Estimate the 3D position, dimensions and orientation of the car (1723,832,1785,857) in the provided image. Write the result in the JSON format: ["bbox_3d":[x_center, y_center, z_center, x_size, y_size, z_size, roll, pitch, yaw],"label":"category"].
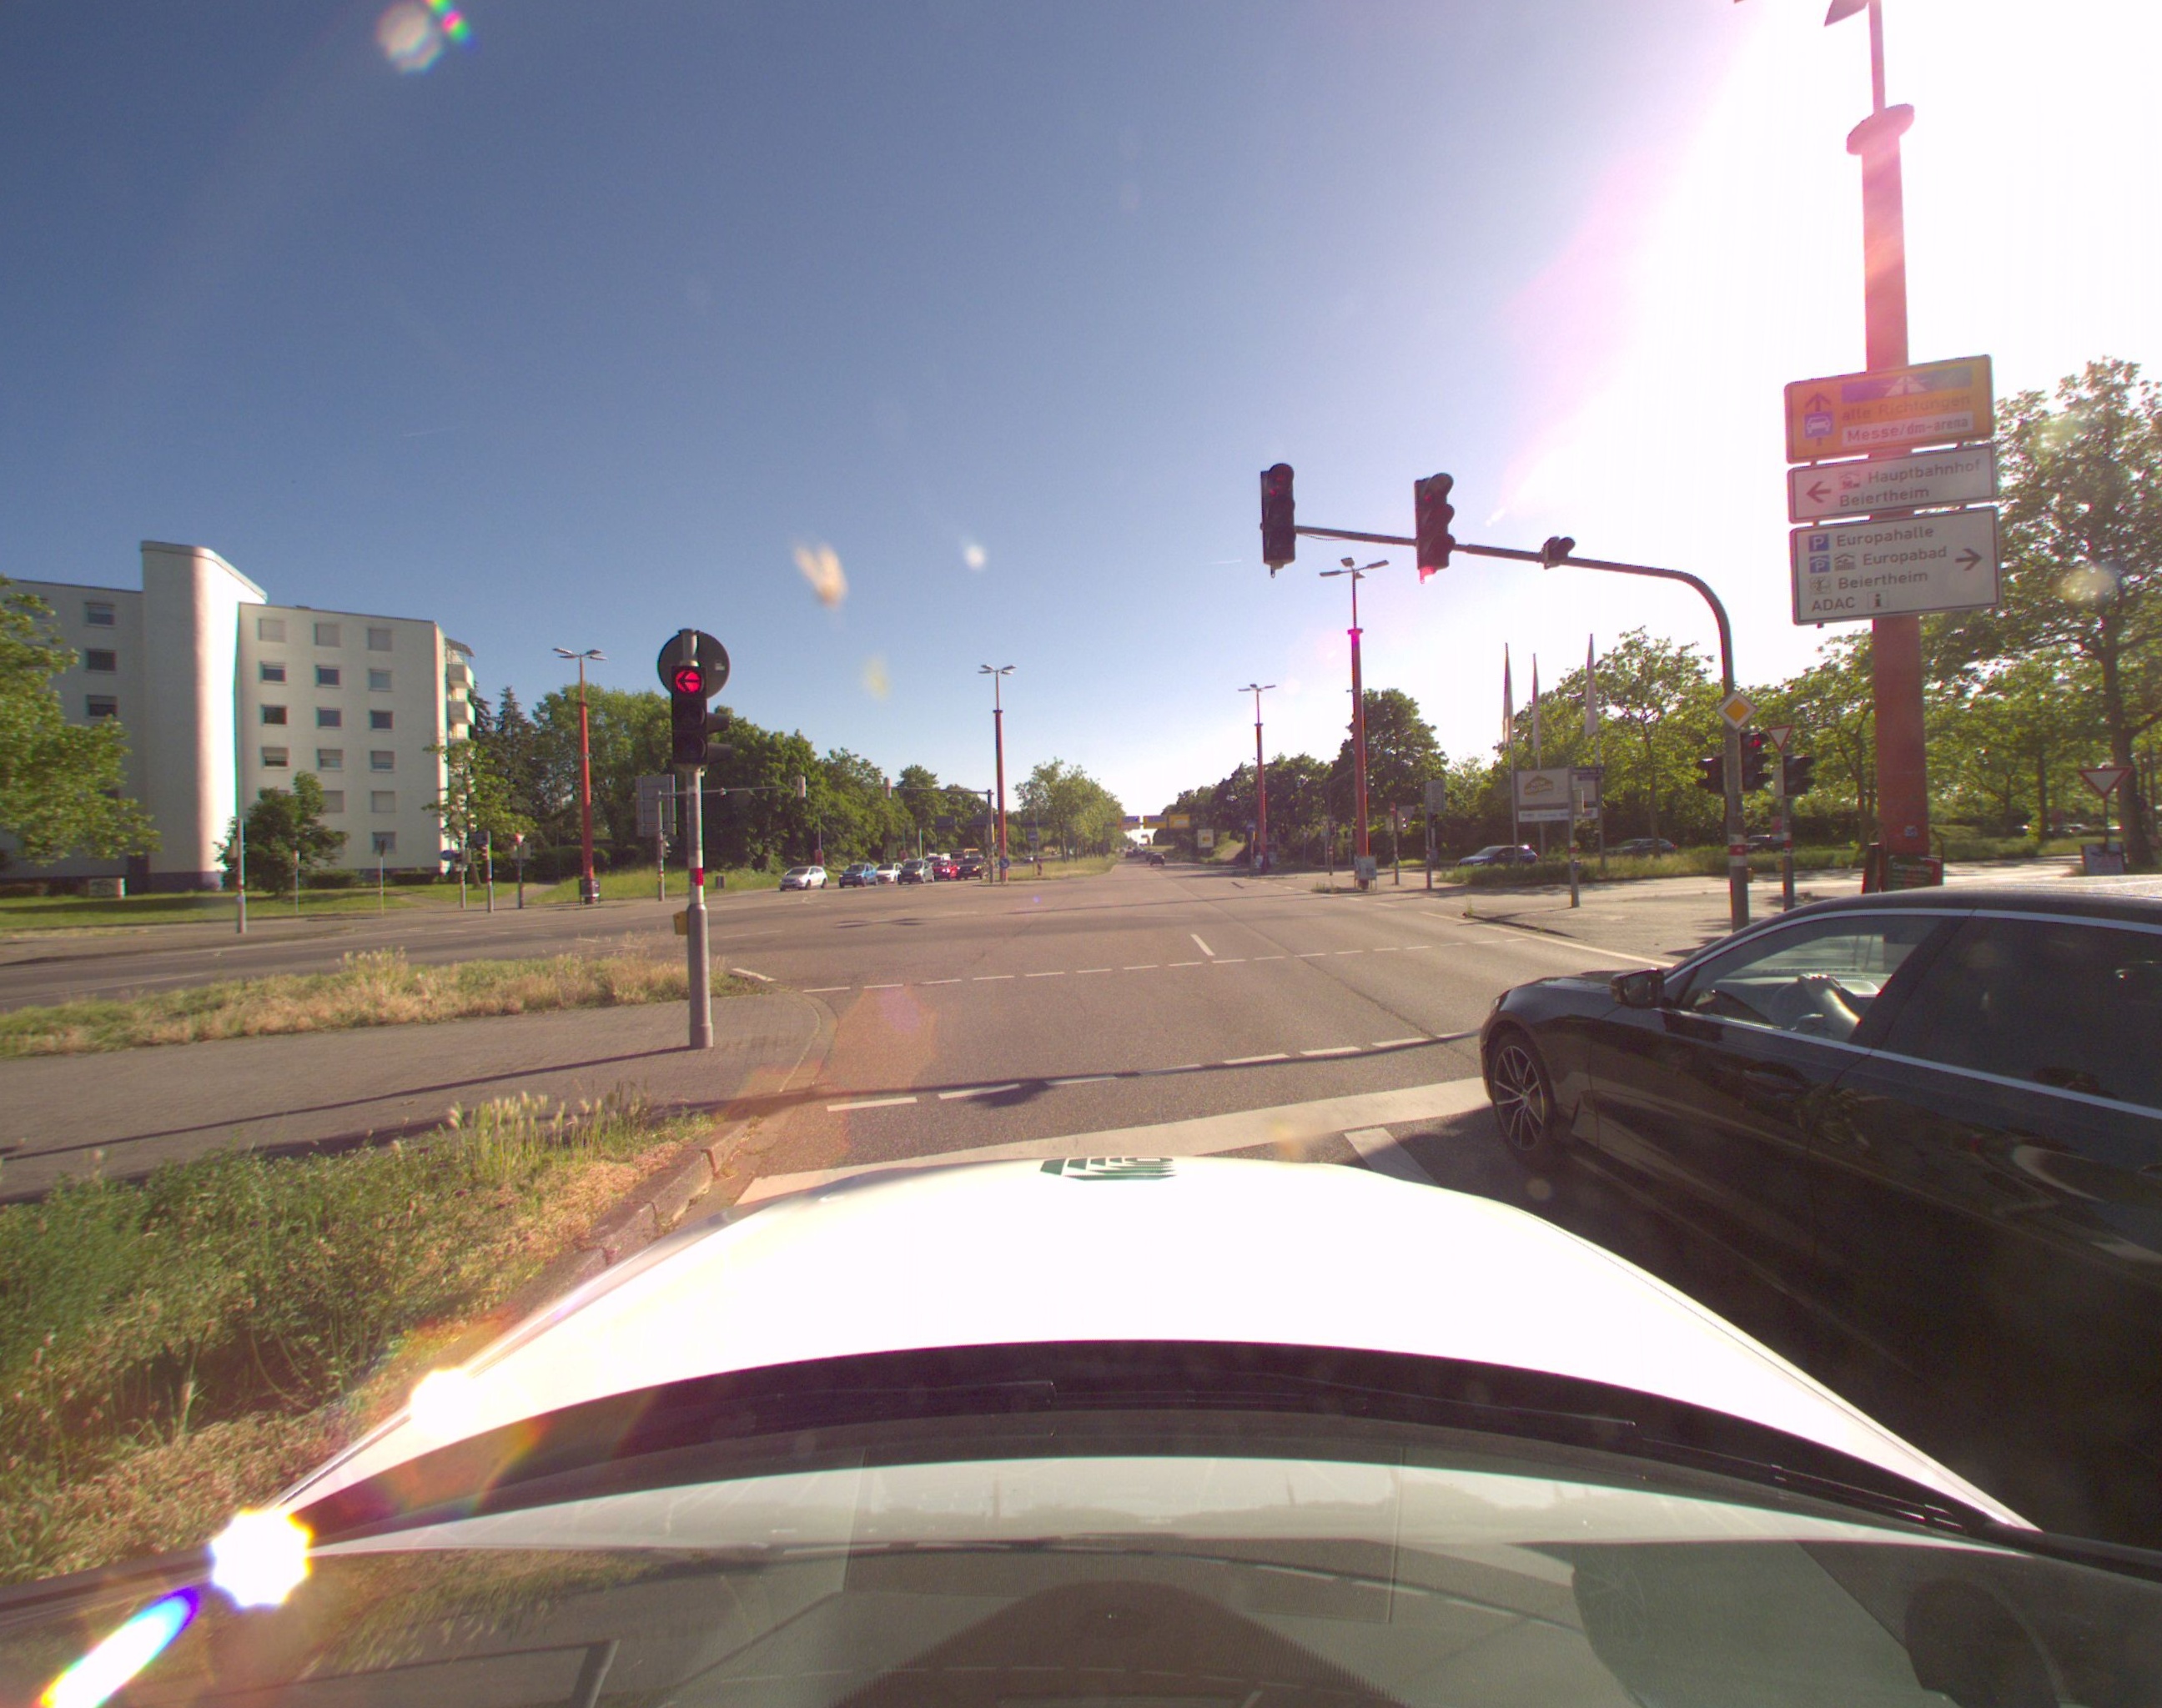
[{"bbox_3d":[47.823,-0.683,57.832,4.296,1.573,2.144,-2,0,-33],"label":"car"}]

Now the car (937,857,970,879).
[{"bbox_3d":[-10.064,1.092,64.651,1.988,1.573,4.118,-2,0,-1],"label":"car"}]

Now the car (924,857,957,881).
[{"bbox_3d":[-10.102,1.045,58.869,1.991,1.573,4.112,-2,0,-6],"label":"car"}]

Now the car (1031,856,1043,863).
[{"bbox_3d":[-9.682,1.181,180.945,1.984,1.573,4.127,-2,0,5],"label":"car"}]

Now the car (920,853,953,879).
[{"bbox_3d":[-12.734,1.052,71.984,2.055,2.193,4.377,-2,0,0],"label":"car"}]

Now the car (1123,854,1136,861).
[{"bbox_3d":[10.652,0.753,178.726,2.241,1.573,4.276,-2,0,-3],"label":"car"}]

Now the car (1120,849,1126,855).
[{"bbox_3d":[13.479,-0.660,261.115,1.986,2.013,4.002,-2,0,2],"label":"car"}]

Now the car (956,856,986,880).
[{"bbox_3d":[-7.565,0.938,56.487,1.874,1.573,4.112,-2,0,-6],"label":"car"}]

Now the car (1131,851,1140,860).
[{"bbox_3d":[13.034,0.302,194.887,1.986,2.013,4.002,-2,0,2],"label":"car"}]

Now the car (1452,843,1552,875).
[{"bbox_3d":[20.808,0.233,40.274,4.276,1.428,1.874,-2,0,-16],"label":"car"}]

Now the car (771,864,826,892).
[{"bbox_3d":[-17.692,1.466,51.178,1.987,1.573,4.120,-2,0,0],"label":"car"}]

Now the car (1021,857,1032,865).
[{"bbox_3d":[-11.084,1.398,165.330,1.877,1.454,3.658,-2,0,2],"label":"car"}]

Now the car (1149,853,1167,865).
[{"bbox_3d":[10.038,0.653,106.790,2.149,1.573,4.285,-2,0,4],"label":"car"}]

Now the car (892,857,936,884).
[{"bbox_3d":[-10.731,1.045,52.578,1.988,1.573,4.119,-2,0,-1],"label":"car"}]

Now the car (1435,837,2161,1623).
[{"bbox_3d":[2.956,0.665,2.371,1.986,1.394,4.479,-2,0,2],"label":"car"}]

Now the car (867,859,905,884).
[{"bbox_3d":[-13.737,1.215,57.521,1.991,1.573,4.112,-3,0,-6],"label":"car"}]

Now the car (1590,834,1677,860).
[{"bbox_3d":[36.963,-0.468,54.515,4.566,1.573,2.159,-2,0,-9],"label":"car"}]

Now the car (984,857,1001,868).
[{"bbox_3d":[-13.292,1.326,122.513,1.987,1.573,4.119,-2,0,0],"label":"car"}]

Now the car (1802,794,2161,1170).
[{"bbox_3d":[5.803,0.560,3.260,1.959,1.686,4.479,-1,0,2],"label":"car"}]

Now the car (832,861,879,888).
[{"bbox_3d":[-14.235,1.283,51.638,1.989,1.573,4.116,-2,0,-3],"label":"car"}]

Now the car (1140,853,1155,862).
[{"bbox_3d":[12.273,0.642,150.156,2.153,1.573,4.277,-2,0,-2],"label":"car"}]

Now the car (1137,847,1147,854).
[{"bbox_3d":[15.816,-0.873,212.604,2.153,1.573,4.277,-2,0,-2],"label":"car"}]
